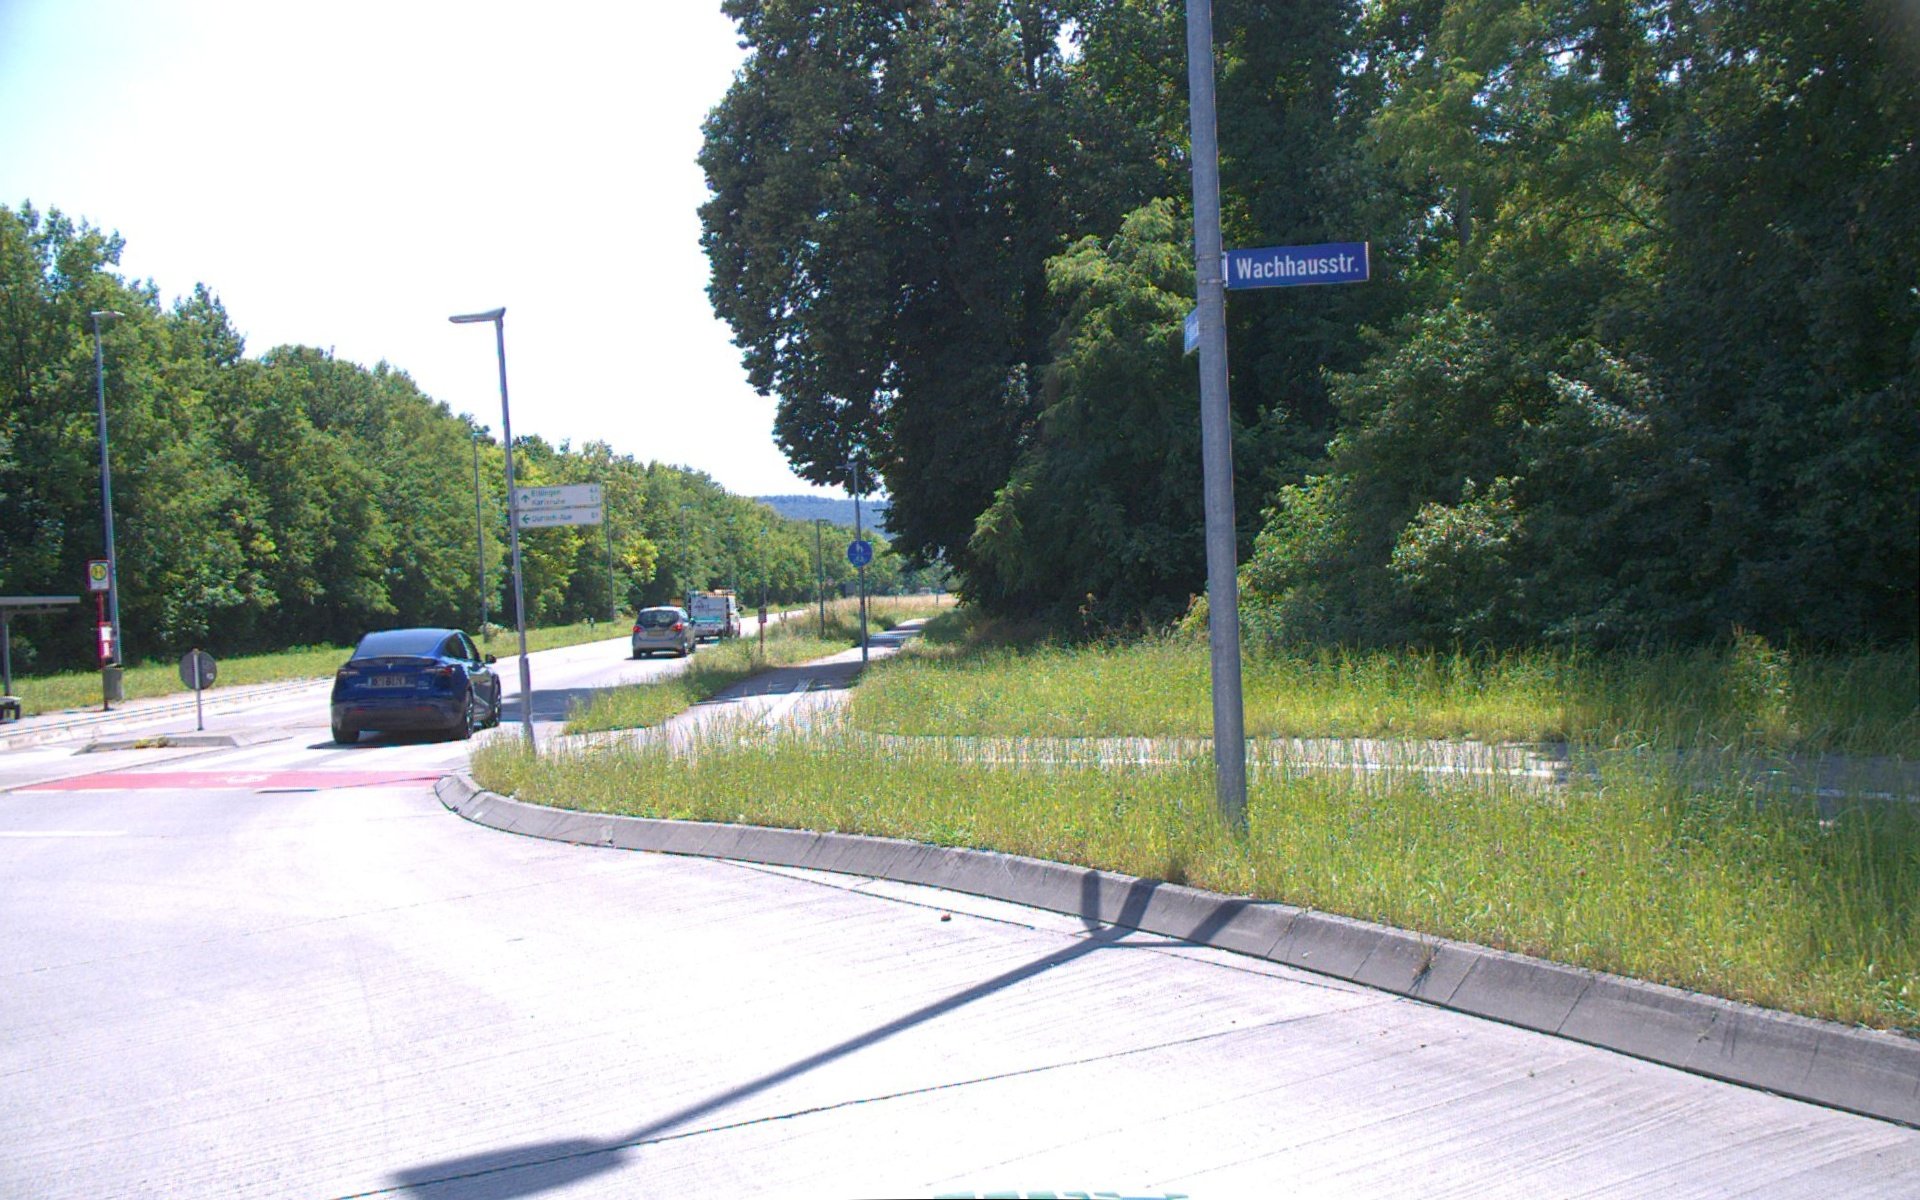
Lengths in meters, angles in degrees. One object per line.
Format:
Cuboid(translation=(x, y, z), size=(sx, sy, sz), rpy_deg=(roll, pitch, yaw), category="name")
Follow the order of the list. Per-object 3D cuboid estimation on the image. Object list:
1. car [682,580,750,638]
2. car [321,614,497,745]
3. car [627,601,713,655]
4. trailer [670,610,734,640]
Cuboid(translation=(-10.643, 0.371, 72.438), size=(2.122, 2.356, 4.981), rpy_deg=(-2, 0, 0), category="car")
Cuboid(translation=(-8.296, 1.112, 25.315), size=(1.959, 1.668, 4.743), rpy_deg=(-3, 1, -12), category="car")
Cuboid(translation=(-9.536, 0.894, 54.677), size=(1.747, 1.635, 4.130), rpy_deg=(-2, 0, 5), category="car")
Cuboid(translation=(-10.626, 1.013, 68.296), size=(2.078, 1.116, 3.354), rpy_deg=(-2, 0, 0), category="trailer")
